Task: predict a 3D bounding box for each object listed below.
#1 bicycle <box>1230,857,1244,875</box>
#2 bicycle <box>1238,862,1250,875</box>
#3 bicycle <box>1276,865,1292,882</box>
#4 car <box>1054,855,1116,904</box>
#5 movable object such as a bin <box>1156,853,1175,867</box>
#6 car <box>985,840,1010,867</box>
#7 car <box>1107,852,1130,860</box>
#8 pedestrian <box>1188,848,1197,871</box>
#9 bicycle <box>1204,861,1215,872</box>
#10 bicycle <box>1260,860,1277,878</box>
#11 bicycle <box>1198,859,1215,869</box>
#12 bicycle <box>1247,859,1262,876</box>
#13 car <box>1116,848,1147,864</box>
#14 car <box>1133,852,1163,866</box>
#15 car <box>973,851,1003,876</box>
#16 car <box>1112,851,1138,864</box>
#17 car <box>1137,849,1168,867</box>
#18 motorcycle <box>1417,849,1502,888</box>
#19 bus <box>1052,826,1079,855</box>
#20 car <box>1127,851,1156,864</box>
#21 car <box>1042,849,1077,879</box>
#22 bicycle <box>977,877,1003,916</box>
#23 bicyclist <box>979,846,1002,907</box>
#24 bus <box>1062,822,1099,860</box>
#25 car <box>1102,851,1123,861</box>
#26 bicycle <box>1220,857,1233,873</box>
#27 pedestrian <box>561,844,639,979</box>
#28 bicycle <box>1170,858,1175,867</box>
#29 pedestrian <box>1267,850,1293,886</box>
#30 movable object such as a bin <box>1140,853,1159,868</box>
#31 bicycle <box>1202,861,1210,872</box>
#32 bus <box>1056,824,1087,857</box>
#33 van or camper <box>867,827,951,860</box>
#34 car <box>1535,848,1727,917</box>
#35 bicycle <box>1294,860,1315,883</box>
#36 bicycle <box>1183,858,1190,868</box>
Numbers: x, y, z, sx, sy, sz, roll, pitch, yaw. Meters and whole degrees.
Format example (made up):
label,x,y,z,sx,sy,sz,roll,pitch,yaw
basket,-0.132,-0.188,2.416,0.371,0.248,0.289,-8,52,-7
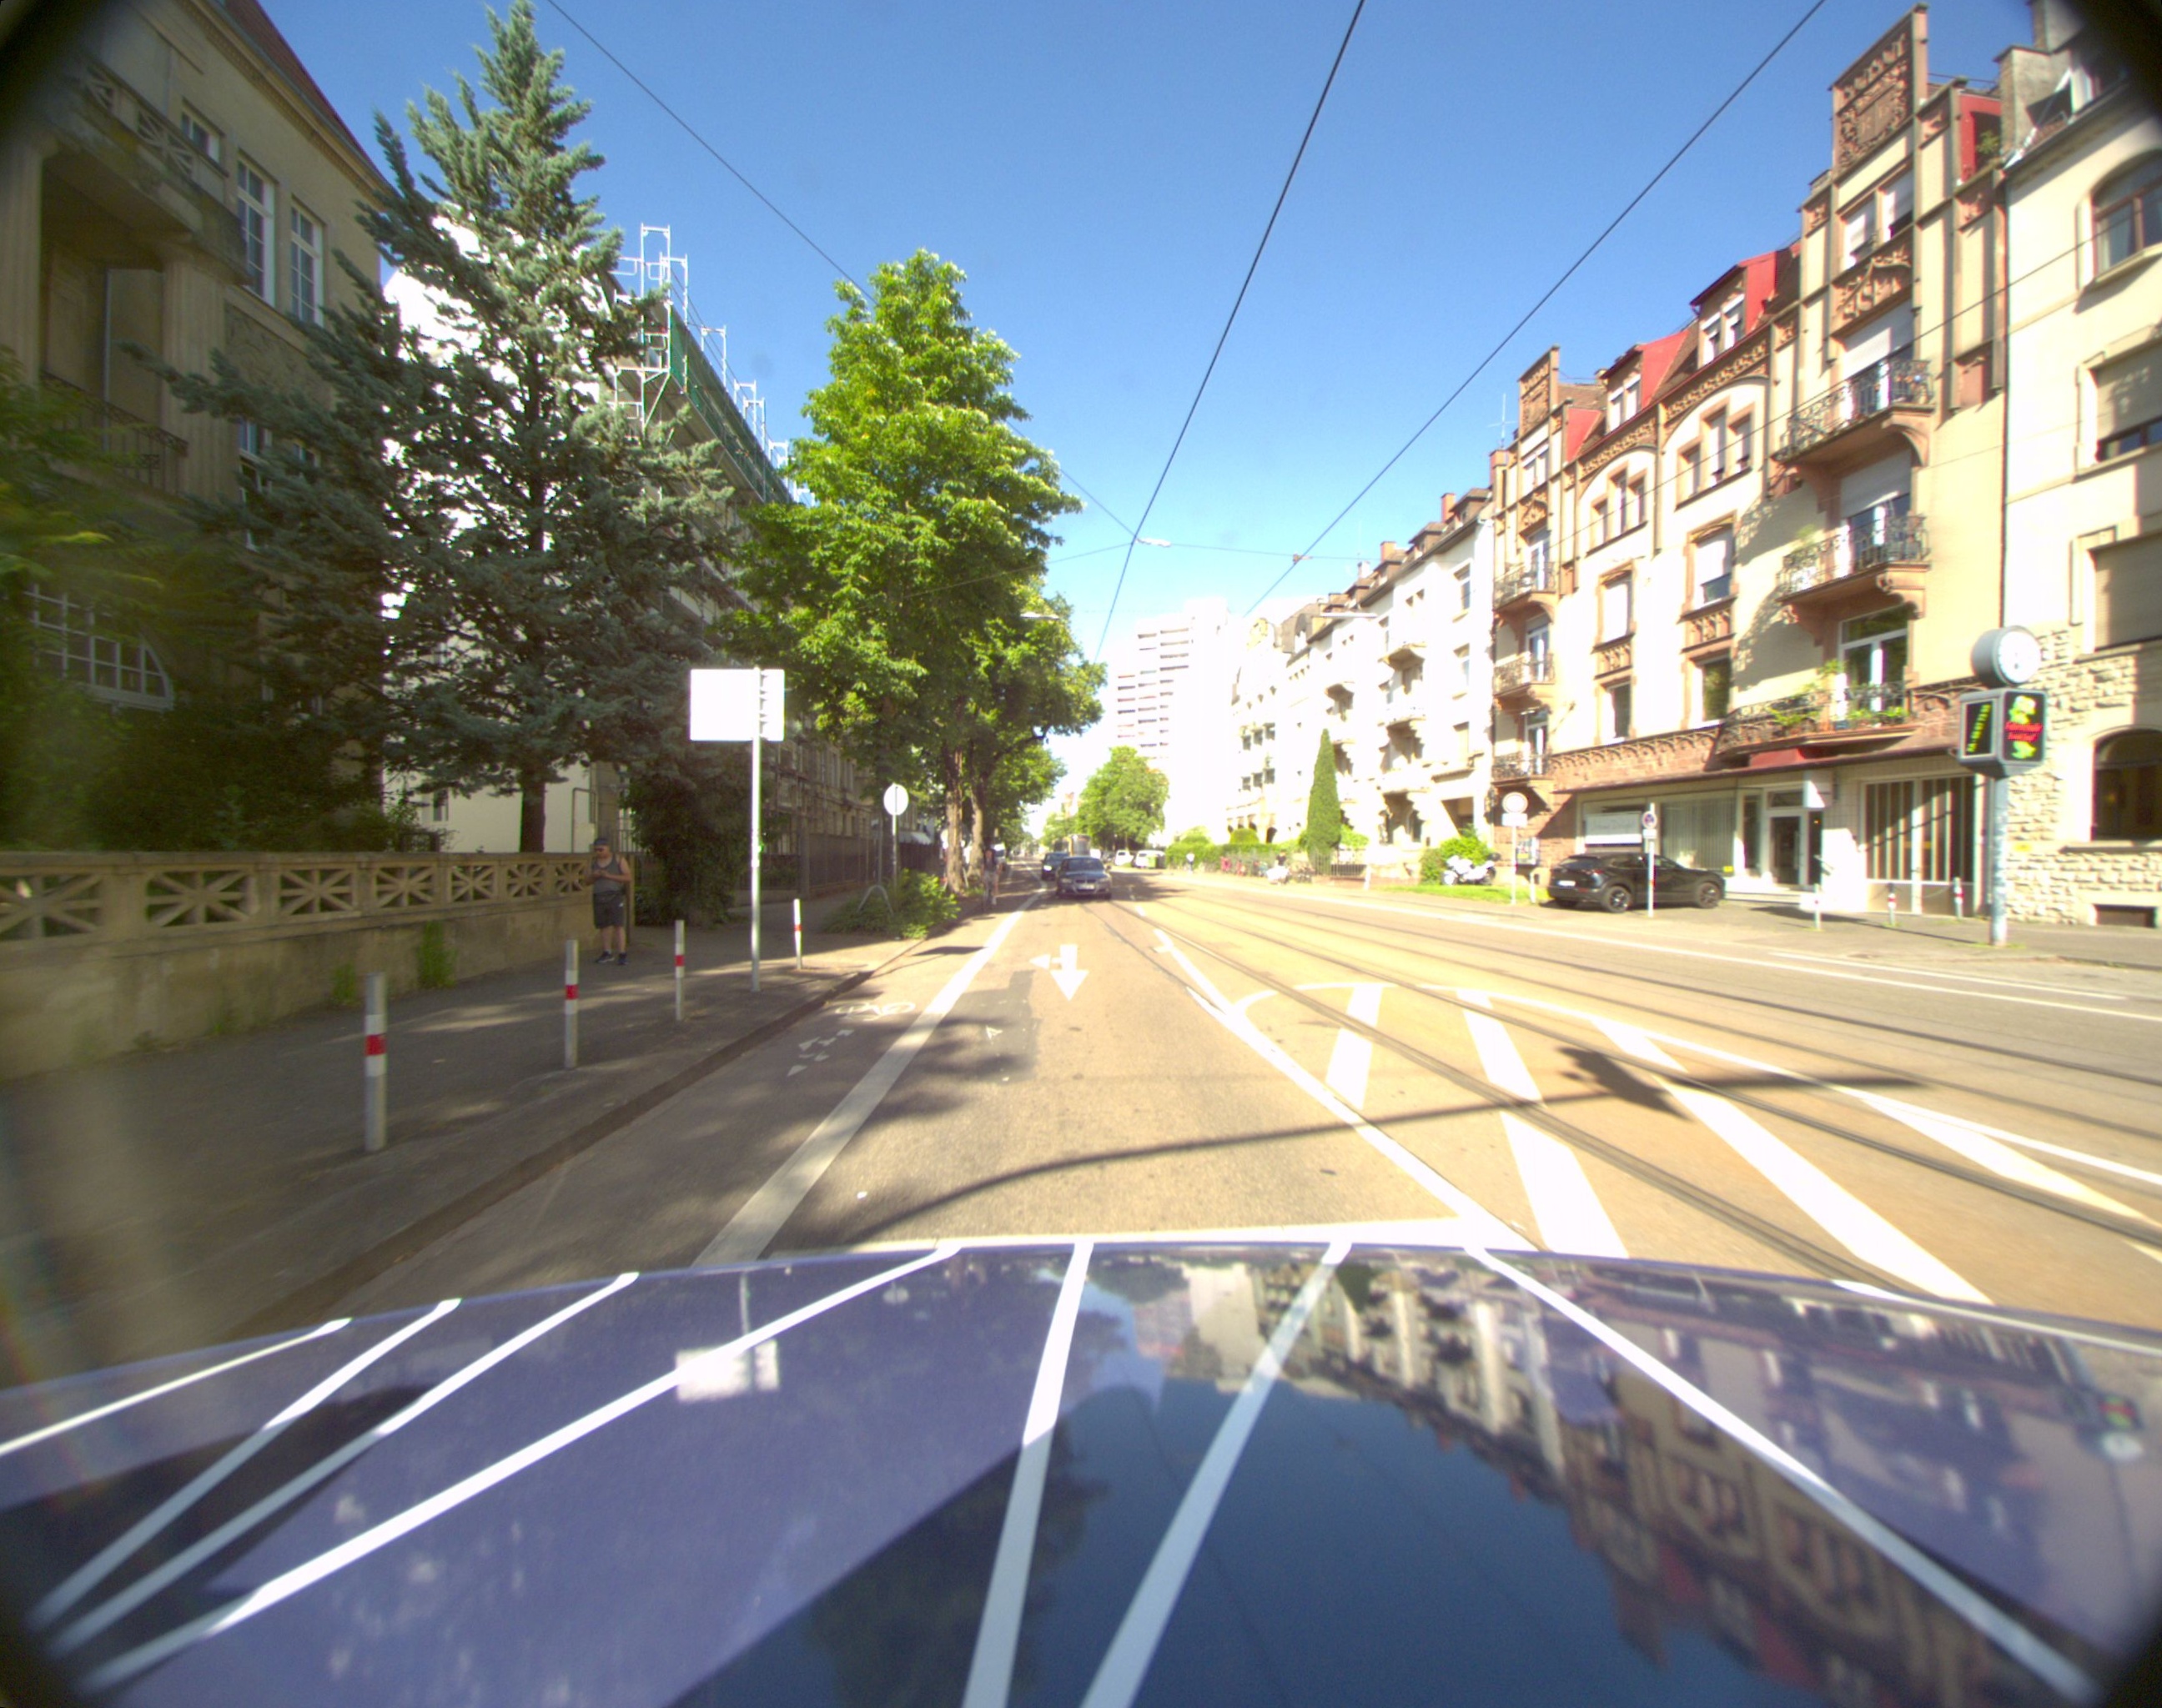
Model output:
label,x,y,z,sx,sy,sz,roll,pitch,yaw
bicycle,9.811,0.740,47.849,0.405,1.018,1.815,-1,1,-3
bicycle,9.905,0.877,46.101,0.318,0.757,1.542,-1,1,-3
bicycle,10.424,0.994,39.023,0.318,0.757,1.651,-1,1,-3
car,0.048,0.803,25.704,1.870,1.426,3.998,-1,1,-3
movable object such as a bin,8.216,0.562,74.307,1.501,1.309,2.095,-1,1,-3
car,-7.636,-0.049,69.898,2.133,2.329,5.801,1,1,-6
car,5.081,0.243,102.624,2.758,1.083,1.225,-1,1,-20
pedestrian,8.154,0.408,55.656,0.476,1.619,0.659,-1,2,-3
bicycle,9.214,0.883,54.559,0.405,0.757,1.581,-1,1,-3
bicycle,10.430,0.834,42.350,0.405,0.937,1.748,-1,1,-3
bicycle,9.803,0.779,59.275,1.262,0.789,0.297,-1,2,-2
bicycle,10.128,0.784,44.319,0.405,0.937,1.648,-1,1,-3
car,6.042,0.209,90.100,1.917,1.860,3.450,0,2,42
car,7.039,0.498,79.690,2.758,1.427,1.457,-1,1,-20
car,-6.244,0.589,51.343,1.878,1.534,4.362,1,1,-6
car,5.404,0.404,93.497,2.758,1.427,1.457,-1,1,-20
car,7.253,0.401,76.687,1.456,1.763,3.194,0,-1,42
motorcycle,15.318,0.575,30.768,3.094,1.448,0.823,-1,2,-5
bus,-2.265,-1.814,104.657,2.868,3.756,11.490,-1,1,-5
car,6.638,0.374,82.978,2.758,1.427,1.457,-1,1,-20
car,-1.228,0.511,42.428,1.829,1.559,3.998,-1,1,-3
bicycle,-2.517,1.160,21.225,0.535,0.917,2.056,-1,1,-2
bicyclist,-2.518,0.615,21.186,0.532,1.660,0.877,-1,2,-2
bus,-0.233,-1.412,81.765,2.858,3.756,12.189,-1,1,-5
car,4.610,0.239,109.826,2.758,1.417,1.225,-1,2,-20
bicycle,9.580,0.722,50.144,0.405,1.018,1.815,-1,1,-3
pedestrian,-6.163,0.718,9.756,0.593,1.662,0.646,2,1,-3
bicycle,8.138,0.796,67.539,0.297,0.757,1.262,-1,1,-3
pedestrian,9.586,0.665,36.694,0.869,1.619,0.870,-5,2,-3
movable object such as a bin,6.566,0.599,73.239,1.513,1.424,2.095,-1,1,-3
bicycle,9.205,0.930,56.087,0.339,0.757,1.262,-1,1,-3
bus,-1.235,-1.617,93.381,2.868,3.756,11.175,-1,1,-5
van or camper,-14.458,-0.879,63.878,6.722,2.612,2.126,-1,2,21
car,14.427,0.702,20.013,4.000,1.494,1.770,-3,2,-9
bicycle,10.828,0.858,36.803,0.405,1.033,1.748,-1,1,-3
bicycle,8.716,0.765,62.847,0.297,0.757,1.262,-1,1,-3
